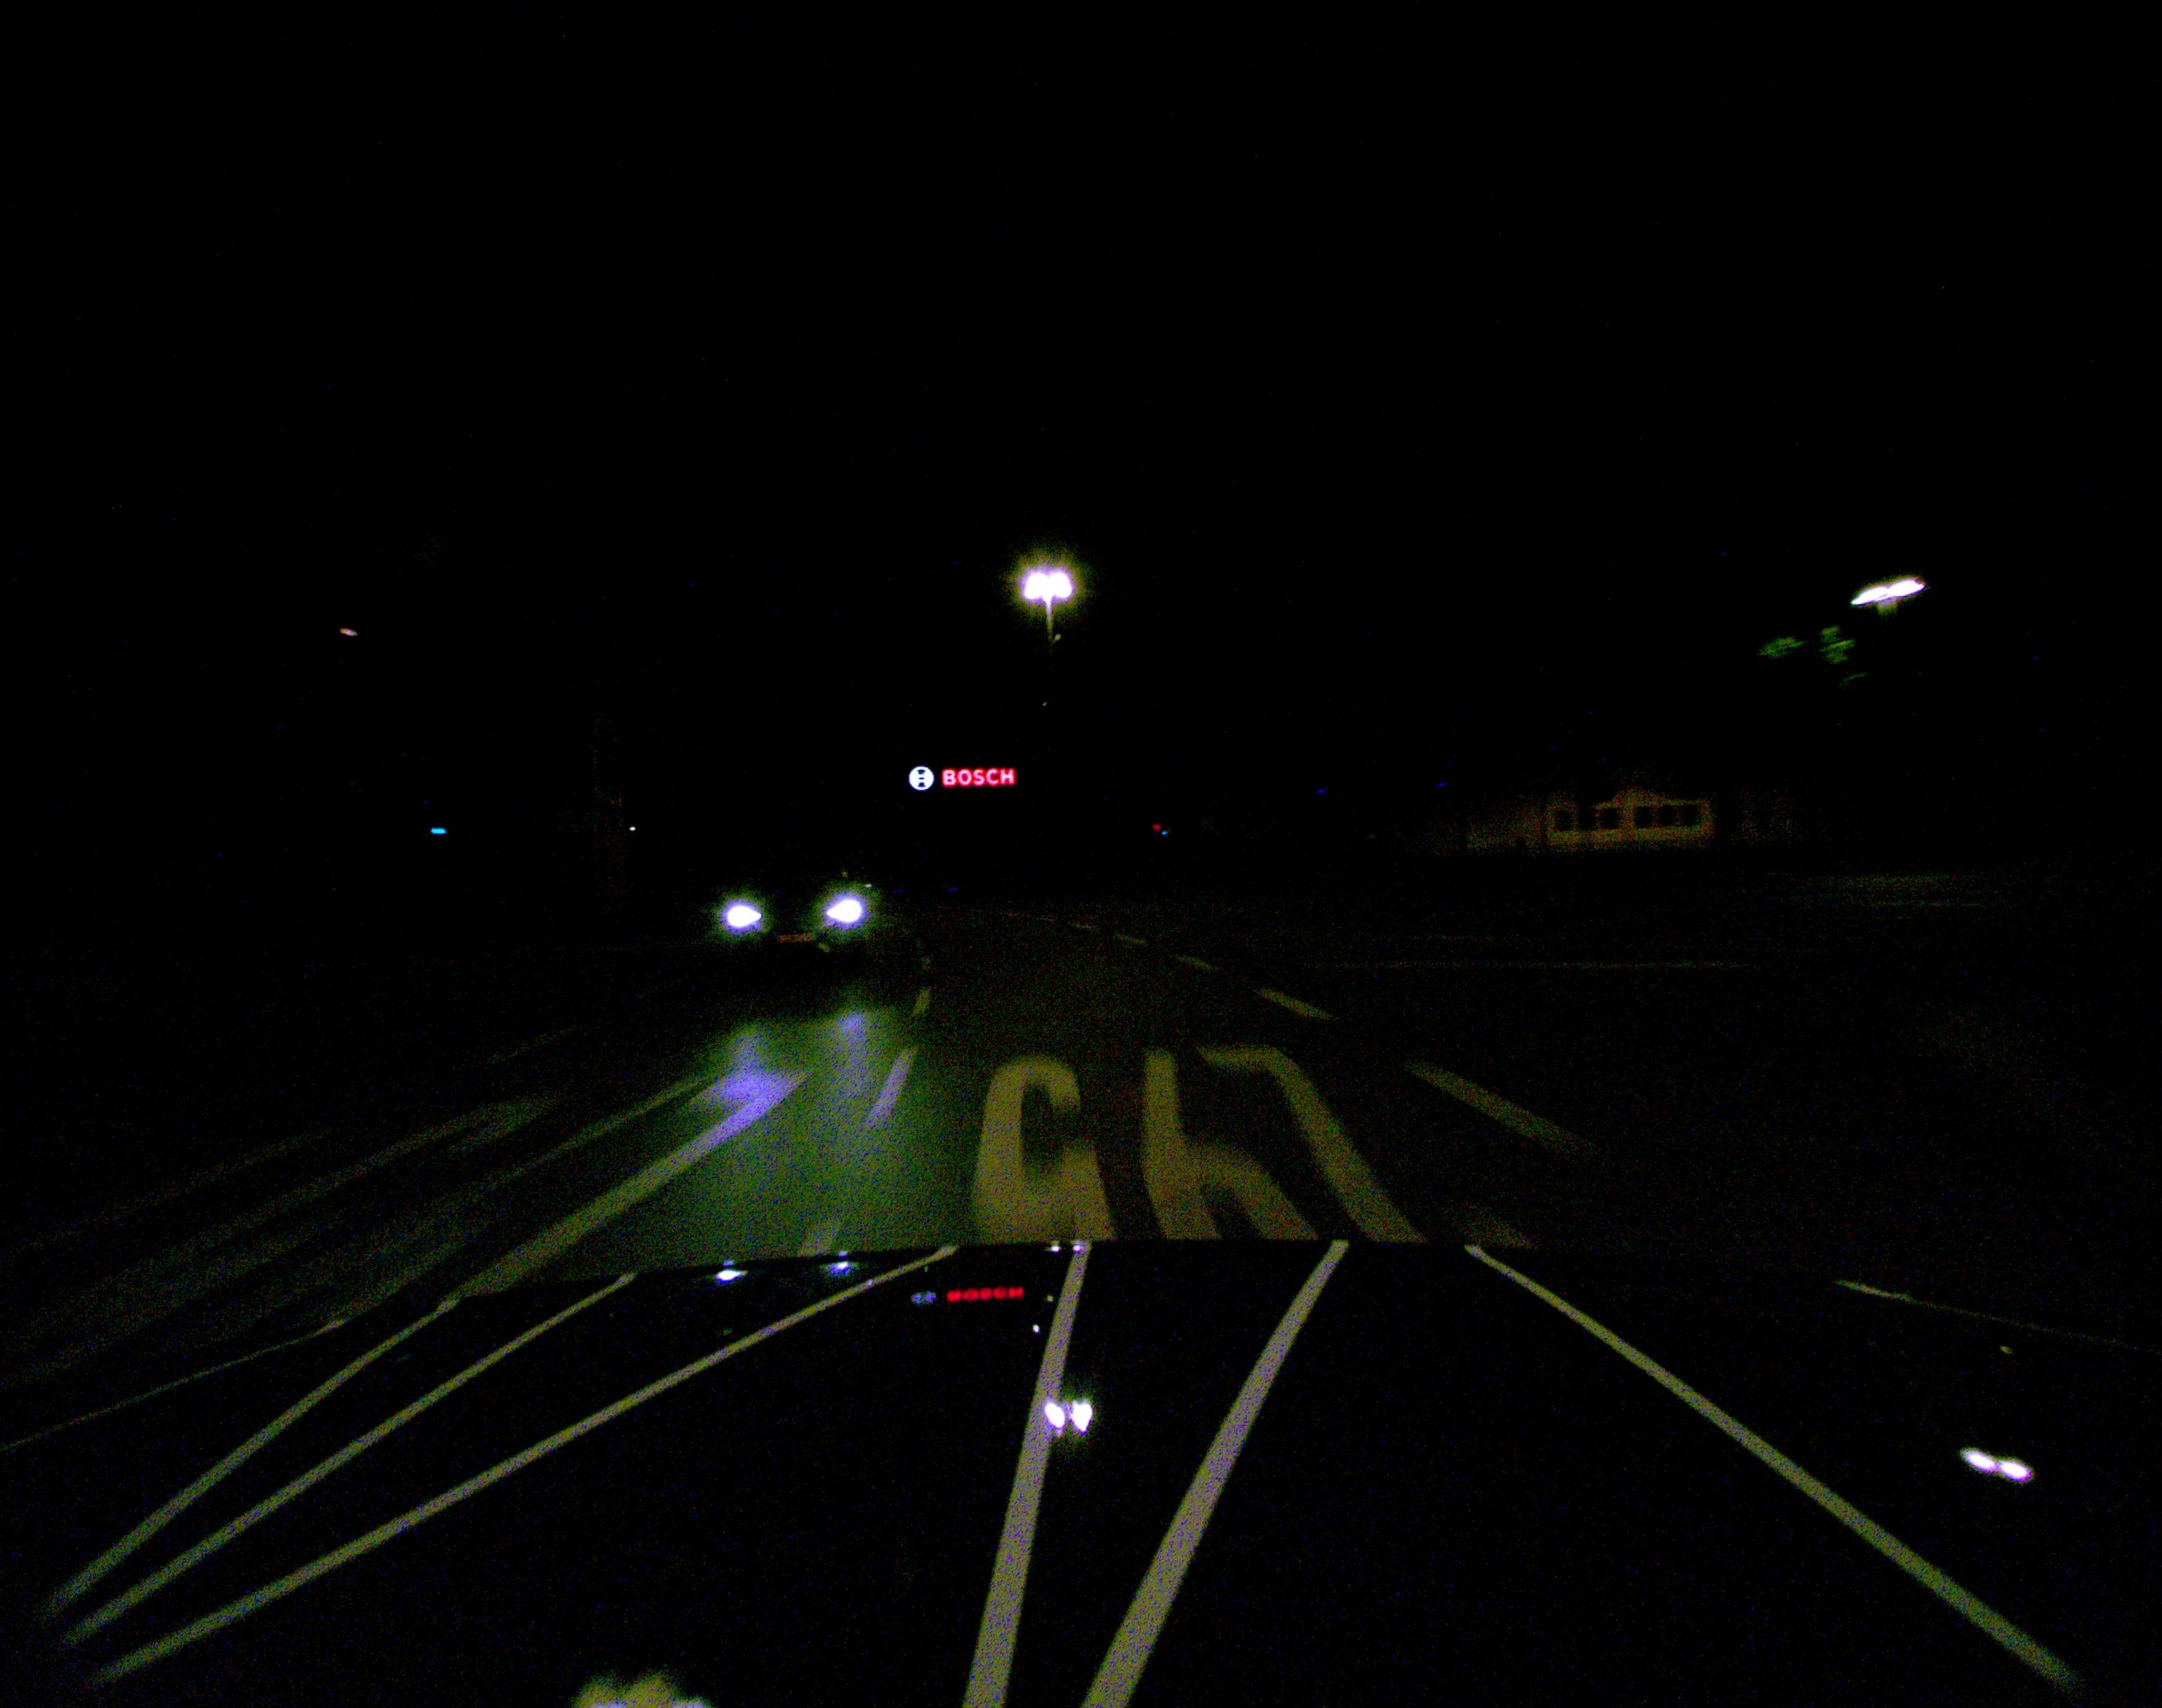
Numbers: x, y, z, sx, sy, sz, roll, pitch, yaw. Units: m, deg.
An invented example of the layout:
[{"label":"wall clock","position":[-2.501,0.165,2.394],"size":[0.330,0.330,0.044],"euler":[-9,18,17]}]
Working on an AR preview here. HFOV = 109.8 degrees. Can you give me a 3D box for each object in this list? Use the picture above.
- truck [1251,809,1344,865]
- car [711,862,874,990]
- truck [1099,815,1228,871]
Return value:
[{"label":"truck","position":[15.628,-1.206,55.035],"size":[6.195,3.672,2.404],"euler":[-3,1,15]},{"label":"car","position":[-4.482,0.974,12.194],"size":[2.001,1.606,3.994],"euler":[-2,0,-18]},{"label":"truck","position":[6.200,-0.762,57.447],"size":[9.340,3.701,2.002],"euler":[-3,1,19]}]
